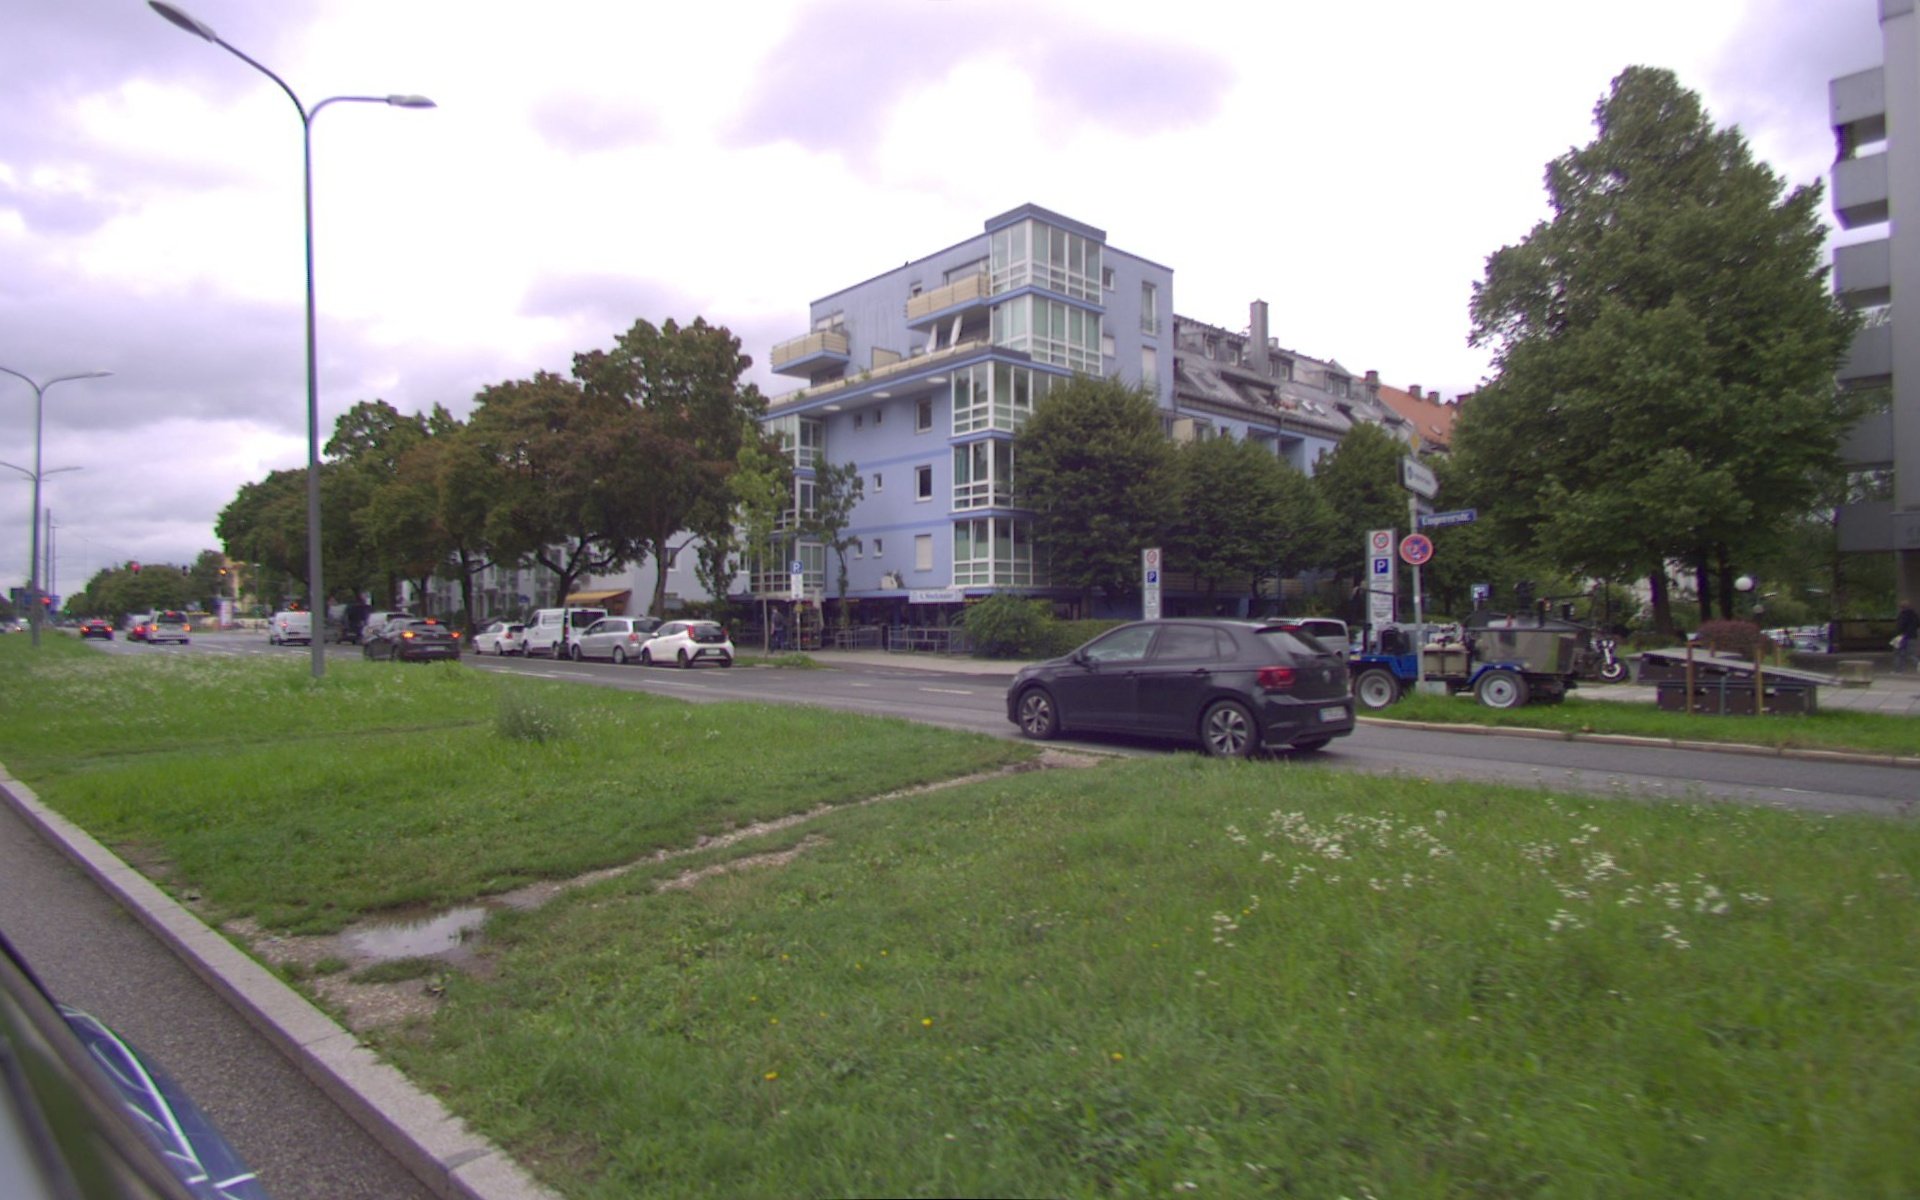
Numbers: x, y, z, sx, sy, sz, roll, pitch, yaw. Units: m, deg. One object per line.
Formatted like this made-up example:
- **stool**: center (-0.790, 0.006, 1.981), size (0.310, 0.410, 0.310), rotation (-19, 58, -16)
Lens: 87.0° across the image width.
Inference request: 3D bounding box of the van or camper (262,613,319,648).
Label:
- **van or camper**: center (-40.164, 1.791, 60.677), size (1.992, 2.031, 5.203), rotation (1, -2, -43)

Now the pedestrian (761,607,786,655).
- **pedestrian**: center (-7.113, 1.186, 38.669), size (0.634, 1.819, 0.781), rotation (1, -2, -40)

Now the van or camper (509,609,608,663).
- **van or camper**: center (-15.676, 1.358, 39.340), size (1.783, 1.983, 5.215), rotation (1, -2, -43)

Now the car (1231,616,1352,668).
- **car**: center (11.762, 1.427, 35.738), size (5.043, 1.695, 2.001), rotation (1, -2, -45)

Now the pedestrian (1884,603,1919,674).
- **pedestrian**: center (21.762, 0.871, 23.070), size (0.696, 1.611, 0.746), rotation (0, -1, 12)

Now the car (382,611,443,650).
- **car**: center (-29.204, 1.606, 53.933), size (1.775, 2.013, 4.551), rotation (1, -2, -43)

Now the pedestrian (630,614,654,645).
- **pedestrian**: center (-16.903, 1.546, 53.770), size (0.969, 1.615, 0.761), rotation (0, -2, 22)

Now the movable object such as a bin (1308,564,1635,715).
- **movable object such as a bin**: center (7.650, 0.559, 15.294), size (3.998, 1.968, 2.170), rotation (-1, -2, 41)

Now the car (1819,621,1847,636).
- **car**: center (95.688, 3.157, 110.915), size (3.941, 1.605, 1.938), rotation (1, -2, -45)

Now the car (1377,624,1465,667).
- **car**: center (19.410, 1.857, 42.561), size (4.199, 1.695, 2.001), rotation (1, -2, -45)

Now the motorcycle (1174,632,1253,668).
- **motorcycle**: center (8.251, 1.609, 32.980), size (2.458, 1.141, 0.495), rotation (0, -1, 19)

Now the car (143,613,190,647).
- **car**: center (-49.013, 1.816, 62.471), size (1.916, 2.013, 4.709), rotation (1, -2, -43)

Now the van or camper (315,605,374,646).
- **van or camper**: center (-39.785, 1.648, 65.343), size (2.025, 2.506, 5.553), rotation (1, -2, -44)

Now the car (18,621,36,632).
- **car**: center (-111.556, 3.203, 121.003), size (1.567, 1.276, 3.738), rotation (1, -2, -43)

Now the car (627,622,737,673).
- **car**: center (-8.770, 1.444, 31.801), size (1.628, 1.501, 3.904), rotation (1, -2, -45)

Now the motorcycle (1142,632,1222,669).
- **motorcycle**: center (7.027, 1.579, 32.073), size (2.459, 1.141, 0.495), rotation (0, -1, 20)

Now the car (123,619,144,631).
- **car**: center (-130.315, 3.973, 159.561), size (2.115, 1.904, 4.003), rotation (1, -2, -44)

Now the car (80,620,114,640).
- **car**: center (-64.138, 2.186, 75.201), size (1.736, 1.459, 3.676), rotation (1, -2, -43)

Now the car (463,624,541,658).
- **car**: center (-19.929, 1.760, 43.952), size (1.656, 1.405, 4.337), rotation (1, -2, -44)

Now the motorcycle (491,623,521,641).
- **motorcycle**: center (-29.925, 2.076, 66.736), size (0.464, 1.179, 1.789), rotation (-1, -2, 42)

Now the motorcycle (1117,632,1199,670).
- **motorcycle**: center (6.109, 1.557, 31.310), size (2.464, 1.141, 0.494), rotation (0, -2, 25)

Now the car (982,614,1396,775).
- **car**: center (2.325, 0.881, 11.022), size (1.762, 1.416, 4.104), rotation (1, -2, -45)

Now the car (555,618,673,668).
- **car**: center (-12.114, 1.450, 35.331), size (4.659, 1.628, 1.682), rotation (-1, -2, 39)

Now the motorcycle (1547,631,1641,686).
- **motorcycle**: center (13.189, 1.192, 21.109), size (0.412, 1.095, 1.789), rotation (0, -1, -18)

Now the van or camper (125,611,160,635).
- **van or camper**: center (-61.177, 1.720, 75.736), size (1.770, 1.811, 4.129), rotation (1, -2, -43)

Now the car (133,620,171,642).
- **car**: center (-55.394, 2.133, 69.352), size (1.770, 1.459, 3.676), rotation (1, -2, -43)

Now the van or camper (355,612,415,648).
- **van or camper**: center (-33.186, 1.709, 58.343), size (1.996, 1.957, 4.709), rotation (1, -2, -43)

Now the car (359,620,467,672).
- **car**: center (-16.732, 1.352, 30.862), size (1.933, 1.491, 4.263), rotation (1, -2, -42)
